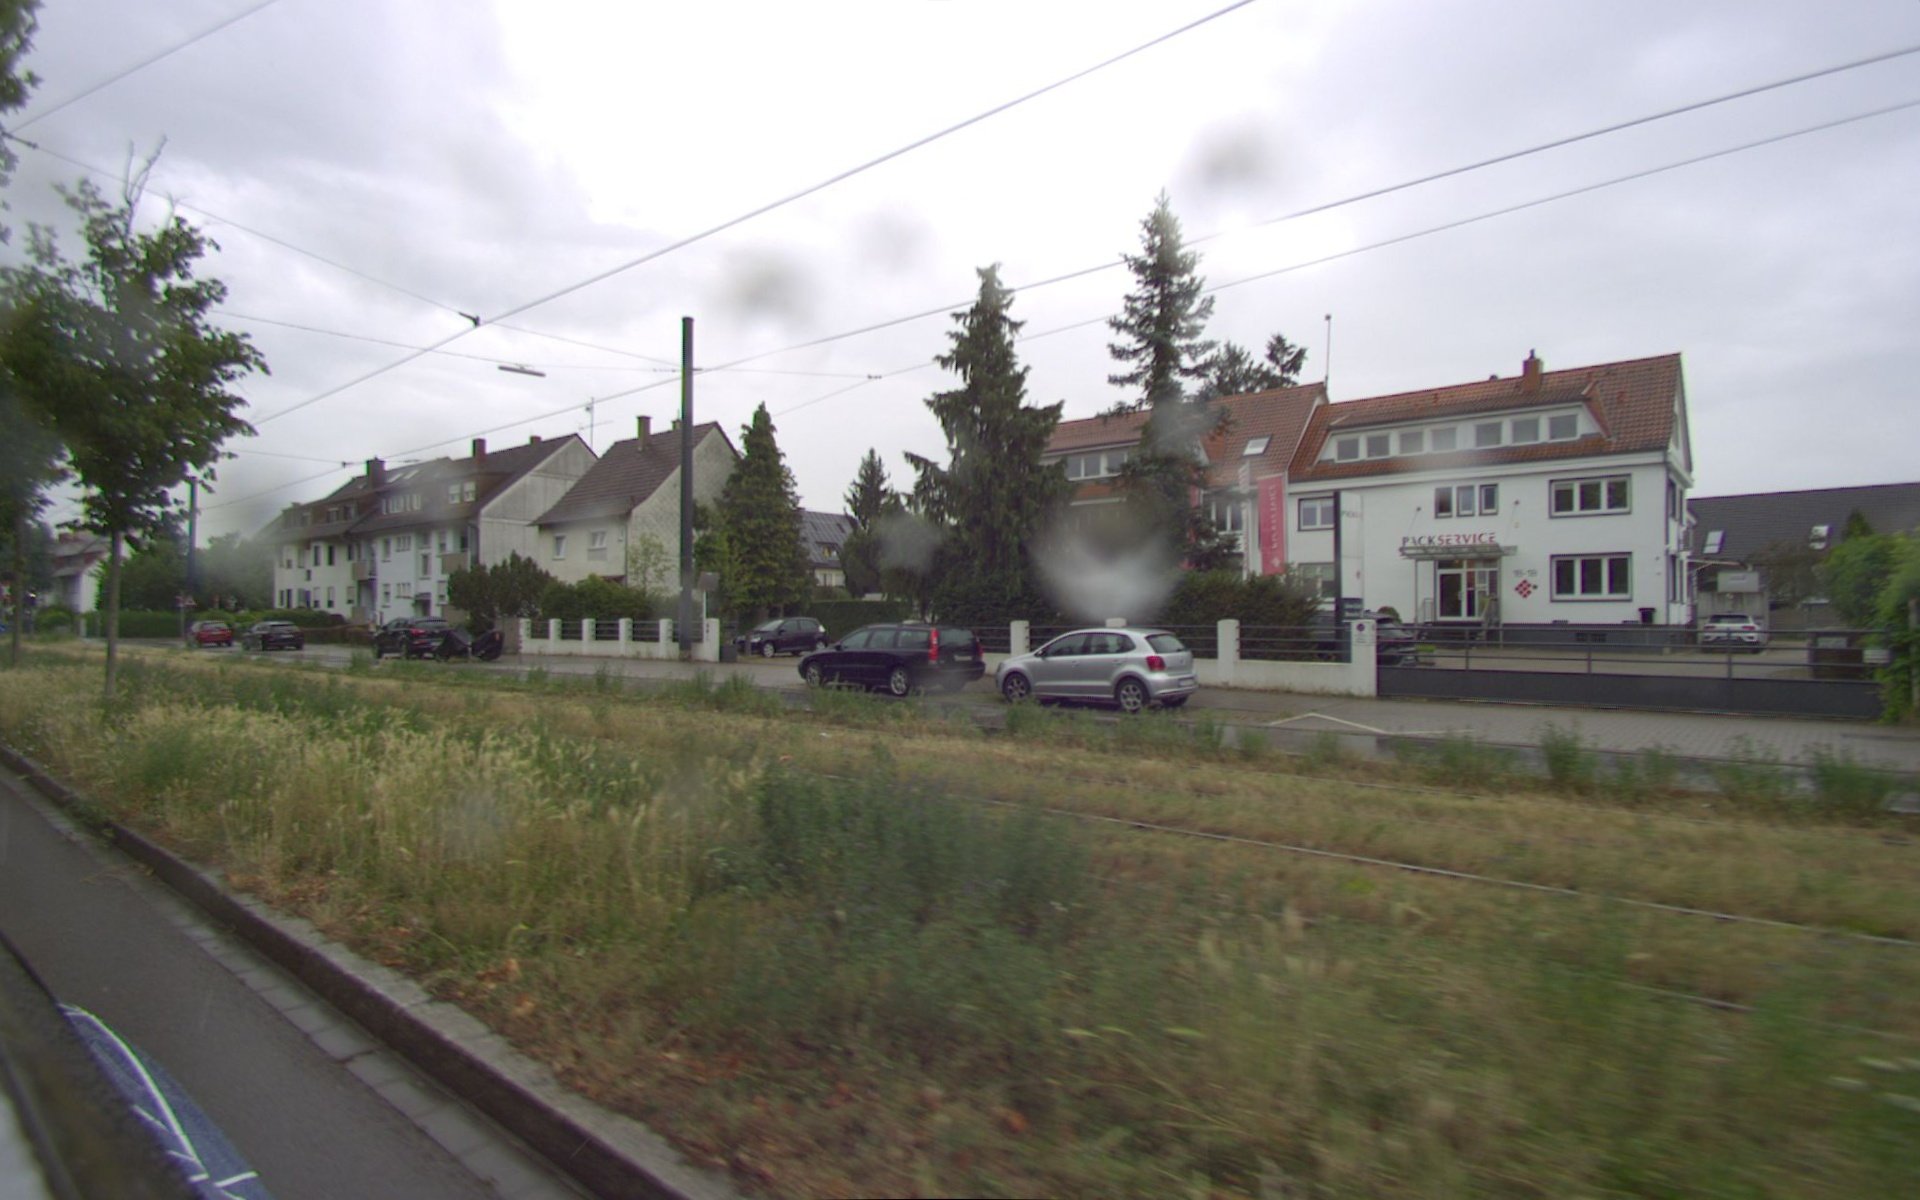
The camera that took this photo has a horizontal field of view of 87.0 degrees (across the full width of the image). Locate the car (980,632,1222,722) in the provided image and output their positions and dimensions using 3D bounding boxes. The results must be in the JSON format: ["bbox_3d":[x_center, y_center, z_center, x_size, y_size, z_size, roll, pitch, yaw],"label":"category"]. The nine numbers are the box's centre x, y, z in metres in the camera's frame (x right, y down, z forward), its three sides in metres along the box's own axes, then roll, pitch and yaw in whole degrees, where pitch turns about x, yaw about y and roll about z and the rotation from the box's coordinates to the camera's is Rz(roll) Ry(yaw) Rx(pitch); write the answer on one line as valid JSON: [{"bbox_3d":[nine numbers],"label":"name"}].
[{"bbox_3d":[2.533,1.338,18.669,3.968,1.421,1.973,-2,-1,40],"label":"car"}]

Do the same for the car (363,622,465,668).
[{"bbox_3d":[-21.409,1.732,39.607,4.382,1.687,1.974,-1,-1,39],"label":"car"}]

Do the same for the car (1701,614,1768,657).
[{"bbox_3d":[30.189,1.353,39.482,1.958,1.564,3.949,-1,-2,37],"label":"car"}]

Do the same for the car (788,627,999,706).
[{"bbox_3d":[-1.527,1.378,21.980,4.530,1.467,1.972,-2,-1,42],"label":"car"}]

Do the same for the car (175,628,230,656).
[{"bbox_3d":[-43.049,2.366,57.500,3.999,1.468,1.778,-2,-1,42],"label":"car"}]

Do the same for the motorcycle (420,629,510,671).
[{"bbox_3d":[-17.625,1.771,36.109,2.645,1.421,1.269,0,0,-7],"label":"motorcycle"}]

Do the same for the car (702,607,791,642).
[{"bbox_3d":[-10.146,1.143,48.312,1.702,1.551,3.919,-2,-1,40],"label":"car"}]

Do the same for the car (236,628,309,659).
[{"bbox_3d":[-34.298,2.135,50.420,4.761,1.421,1.972,-2,-1,42],"label":"car"}]

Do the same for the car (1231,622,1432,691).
[{"bbox_3d":[8.451,1.251,23.199,3.968,1.421,1.681,-2,-1,41],"label":"car"}]
